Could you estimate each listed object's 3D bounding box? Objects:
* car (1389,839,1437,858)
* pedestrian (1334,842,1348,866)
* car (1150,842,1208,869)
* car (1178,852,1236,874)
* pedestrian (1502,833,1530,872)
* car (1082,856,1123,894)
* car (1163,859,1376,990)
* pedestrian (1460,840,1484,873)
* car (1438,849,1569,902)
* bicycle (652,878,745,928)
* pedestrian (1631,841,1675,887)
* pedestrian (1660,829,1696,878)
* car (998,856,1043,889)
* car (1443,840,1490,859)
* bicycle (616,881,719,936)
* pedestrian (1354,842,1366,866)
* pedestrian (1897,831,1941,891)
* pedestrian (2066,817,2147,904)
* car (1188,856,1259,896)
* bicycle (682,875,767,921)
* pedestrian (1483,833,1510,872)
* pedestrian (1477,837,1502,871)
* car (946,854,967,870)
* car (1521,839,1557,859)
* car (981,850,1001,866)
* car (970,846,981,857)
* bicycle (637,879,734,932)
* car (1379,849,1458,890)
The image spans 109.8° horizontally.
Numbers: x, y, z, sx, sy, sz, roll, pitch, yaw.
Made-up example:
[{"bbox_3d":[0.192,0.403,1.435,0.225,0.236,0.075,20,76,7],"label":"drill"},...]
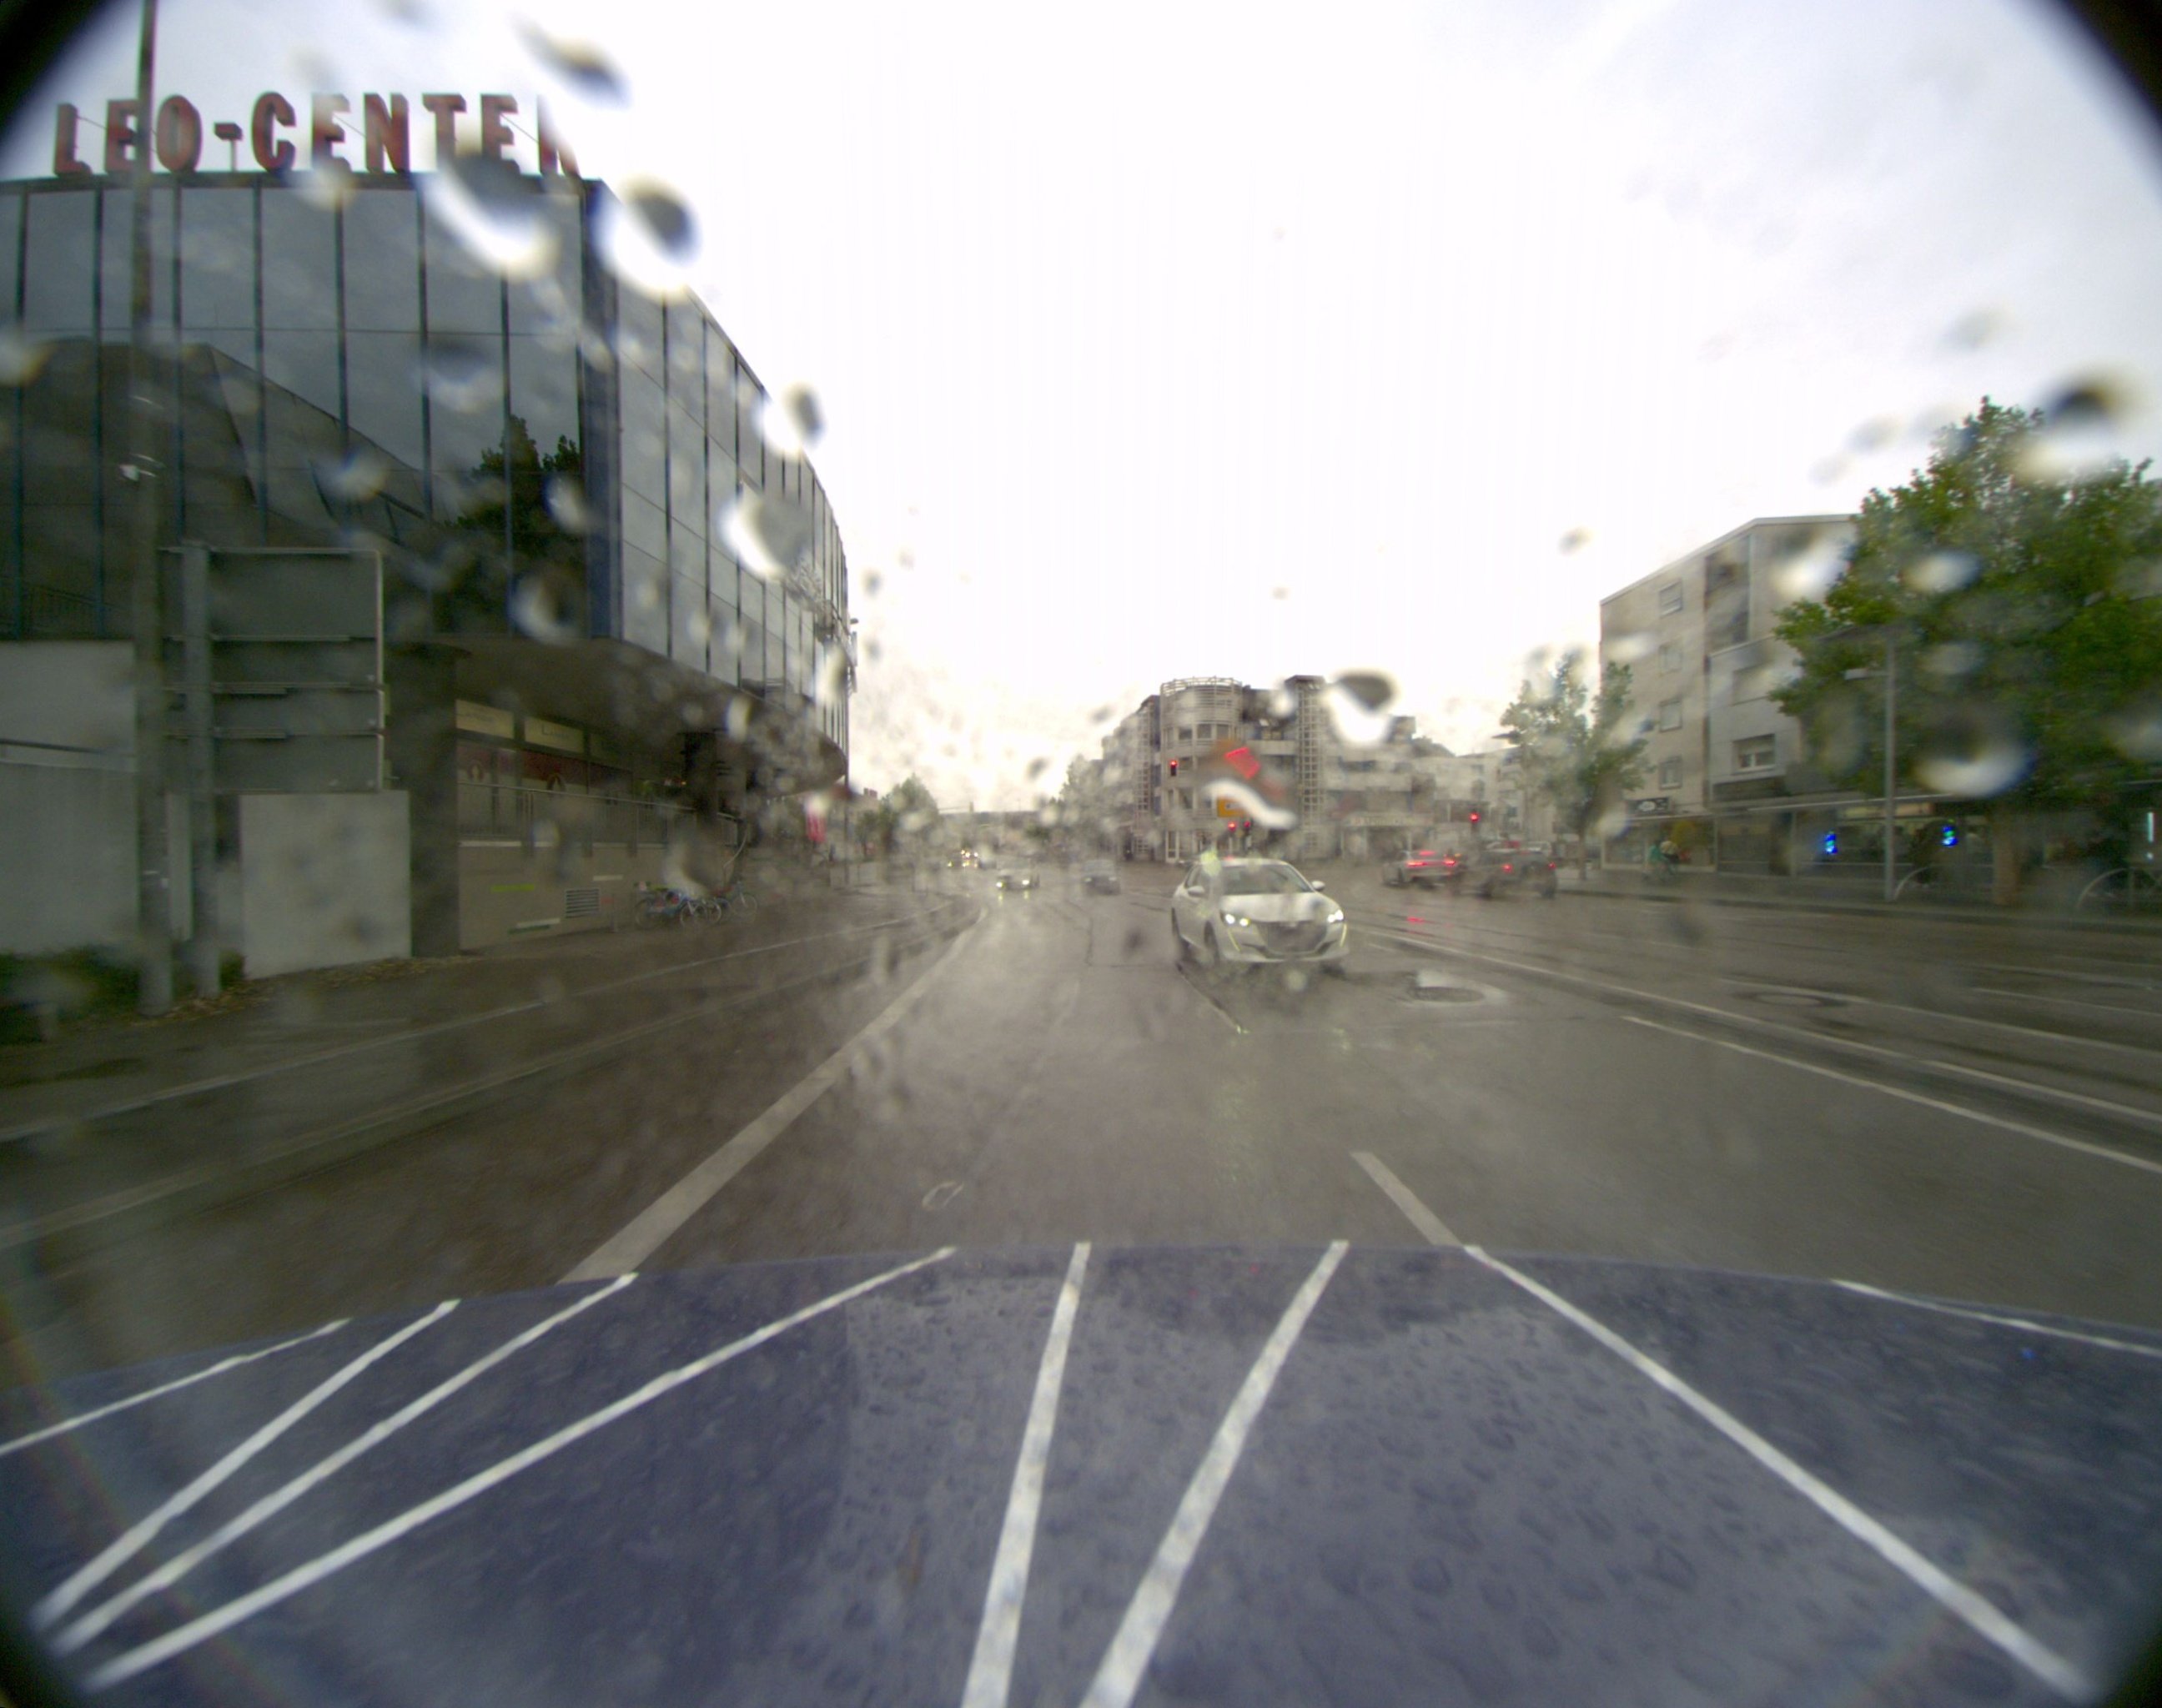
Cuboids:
[{"bbox_3d":[31.113,-0.521,71.280,3.897,1.710,1.745,-1,1,-15],"label":"car"},{"bbox_3d":[19.029,-0.014,55.529,0.838,1.733,0.585,-2,1,9],"label":"pedestrian"},{"bbox_3d":[7.716,0.108,59.832,4.192,2.002,1.795,-1,1,-11],"label":"car"},{"bbox_3d":[9.041,0.607,54.572,3.843,1.481,1.631,-1,0,-20],"label":"car"},{"bbox_3d":[22.924,-0.072,40.016,0.905,2.002,0.978,-1,0,2],"label":"pedestrian"},{"bbox_3d":[0.947,0.881,33.673,1.676,1.534,3.914,-1,0,2],"label":"car"},{"bbox_3d":[2.465,0.849,10.987,1.877,1.453,3.871,-2,0,-4],"label":"car"},{"bbox_3d":[22.595,0.153,43.942,0.905,1.904,0.978,-1,0,2],"label":"pedestrian"},{"bbox_3d":[12.589,0.610,22.951,1.762,1.418,4.000,-1,0,1],"label":"car"},{"bbox_3d":[-8.903,1.125,17.728,1.814,1.104,0.694,1,0,1],"label":"bicycle"},{"bbox_3d":[20.659,0.357,27.444,1.009,1.636,0.727,-2,1,2],"label":"pedestrian"},{"bbox_3d":[24.478,-0.023,31.167,0.760,2.002,0.864,-1,1,2],"label":"pedestrian"},{"bbox_3d":[-3.187,0.962,40.854,1.761,1.540,4.327,-2,1,4],"label":"car"},{"bbox_3d":[37.735,-0.453,74.434,3.897,1.710,1.745,-1,1,-15],"label":"car"},{"bbox_3d":[-8.791,1.149,16.181,1.814,1.104,0.694,1,0,1],"label":"bicycle"},{"bbox_3d":[20.503,-0.009,55.823,0.682,1.733,0.586,-1,1,28],"label":"pedestrian"},{"bbox_3d":[24.790,0.198,22.492,0.549,1.740,0.681,-1,1,5],"label":"pedestrian"},{"bbox_3d":[24.550,0.154,18.214,0.760,2.002,0.864,-1,1,6],"label":"pedestrian"},{"bbox_3d":[5.567,0.843,30.137,1.762,1.442,3.998,-1,0,-5],"label":"car"},{"bbox_3d":[-9.035,1.107,19.296,1.834,1.104,0.694,1,1,1],"label":"bicycle"},{"bbox_3d":[21.761,-0.071,39.820,0.905,2.002,0.978,-1,0,2],"label":"pedestrian"},{"bbox_3d":[23.597,0.001,43.935,0.905,1.904,0.978,-1,0,2],"label":"pedestrian"},{"bbox_3d":[-12.652,0.770,77.598,1.901,1.517,3.997,-1,0,-7],"label":"car"},{"bbox_3d":[47.655,-0.541,79.046,4.607,2.002,1.994,-2,1,-44],"label":"car"},{"bbox_3d":[-9.153,0.421,77.285,1.901,1.517,3.997,-1,0,-7],"label":"car"},{"bbox_3d":[-16.981,-0.426,122.712,1.584,1.630,3.638,-1,0,-7],"label":"car"},{"bbox_3d":[-8.822,1.143,16.997,1.805,1.079,0.684,1,3,1],"label":"bicycle"},{"bbox_3d":[13.167,0.541,29.958,1.760,1.418,4.891,-1,1,11],"label":"car"}]
